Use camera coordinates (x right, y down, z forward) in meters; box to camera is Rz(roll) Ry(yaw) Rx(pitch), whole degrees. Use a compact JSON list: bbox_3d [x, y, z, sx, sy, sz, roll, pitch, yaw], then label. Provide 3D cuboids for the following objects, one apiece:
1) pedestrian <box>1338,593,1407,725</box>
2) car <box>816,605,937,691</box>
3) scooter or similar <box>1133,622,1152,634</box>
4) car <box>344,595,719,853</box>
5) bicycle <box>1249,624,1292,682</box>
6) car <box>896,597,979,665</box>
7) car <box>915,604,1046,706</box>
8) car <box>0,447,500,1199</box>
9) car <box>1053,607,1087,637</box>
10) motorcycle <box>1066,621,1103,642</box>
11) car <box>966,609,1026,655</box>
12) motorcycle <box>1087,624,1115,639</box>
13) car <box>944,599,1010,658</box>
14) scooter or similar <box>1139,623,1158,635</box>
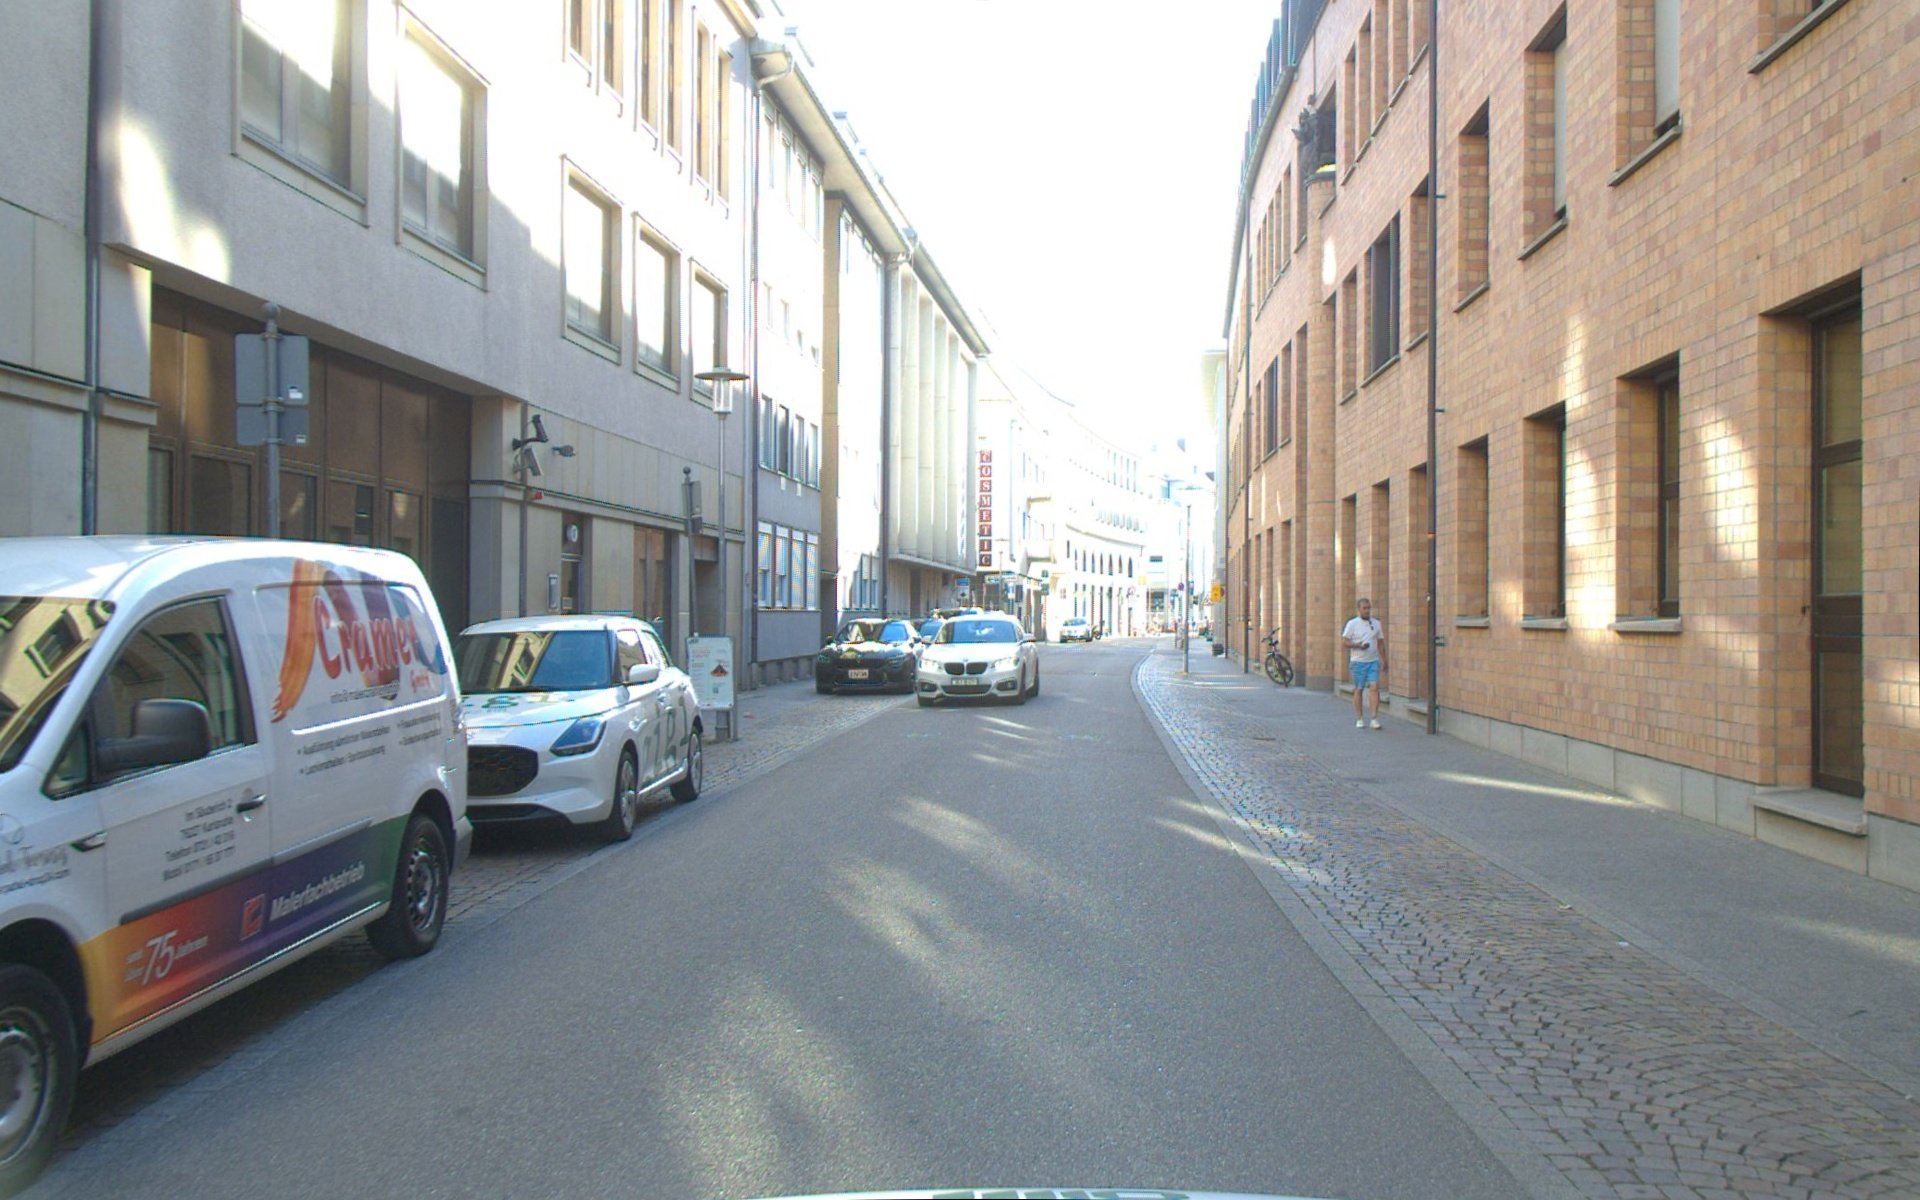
[{"bbox_3d":[5.558,0.789,22.340,0.744,1.746,0.822,-1,-1,4],"label":"pedestrian"},{"bbox_3d":[-1.578,0.908,32.933,1.850,1.557,4.731,1,0,4],"label":"car"},{"bbox_3d":[15.289,2.370,138.760,0.516,0.944,2.218,2,-1,37],"label":"scooter or similar"},{"bbox_3d":[-2.914,0.777,12.057,1.635,1.549,3.776,-1,-1,2],"label":"car"},{"bbox_3d":[6.386,1.080,34.058,0.538,1.123,1.982,-2,-1,2],"label":"bicycle"},{"bbox_3d":[-0.550,0.797,44.353,1.850,1.705,4.555,1,0,4],"label":"car"},{"bbox_3d":[0.423,0.868,27.757,1.678,1.544,4.163,1,0,8],"label":"car"},{"bbox_3d":[-3.256,0.582,5.726,1.860,1.890,4.734,0,0,2],"label":"car"},{"bbox_3d":[6.551,1.300,97.943,1.699,1.634,3.535,2,0,8],"label":"car"},{"bbox_3d":[8.176,2.065,108.576,2.340,1.340,0.862,0,-1,7],"label":"motorcycle"},{"bbox_3d":[1.269,1.105,57.200,1.613,1.486,4.002,-1,-1,7],"label":"car"},{"bbox_3d":[8.951,1.998,105.007,1.655,0.874,0.595,3,-1,12],"label":"motorcycle"},{"bbox_3d":[0.590,0.891,52.469,1.850,1.773,4.392,1,0,4],"label":"car"},{"bbox_3d":[16.278,2.501,142.849,0.516,0.944,2.218,2,-1,37],"label":"scooter or similar"}]
